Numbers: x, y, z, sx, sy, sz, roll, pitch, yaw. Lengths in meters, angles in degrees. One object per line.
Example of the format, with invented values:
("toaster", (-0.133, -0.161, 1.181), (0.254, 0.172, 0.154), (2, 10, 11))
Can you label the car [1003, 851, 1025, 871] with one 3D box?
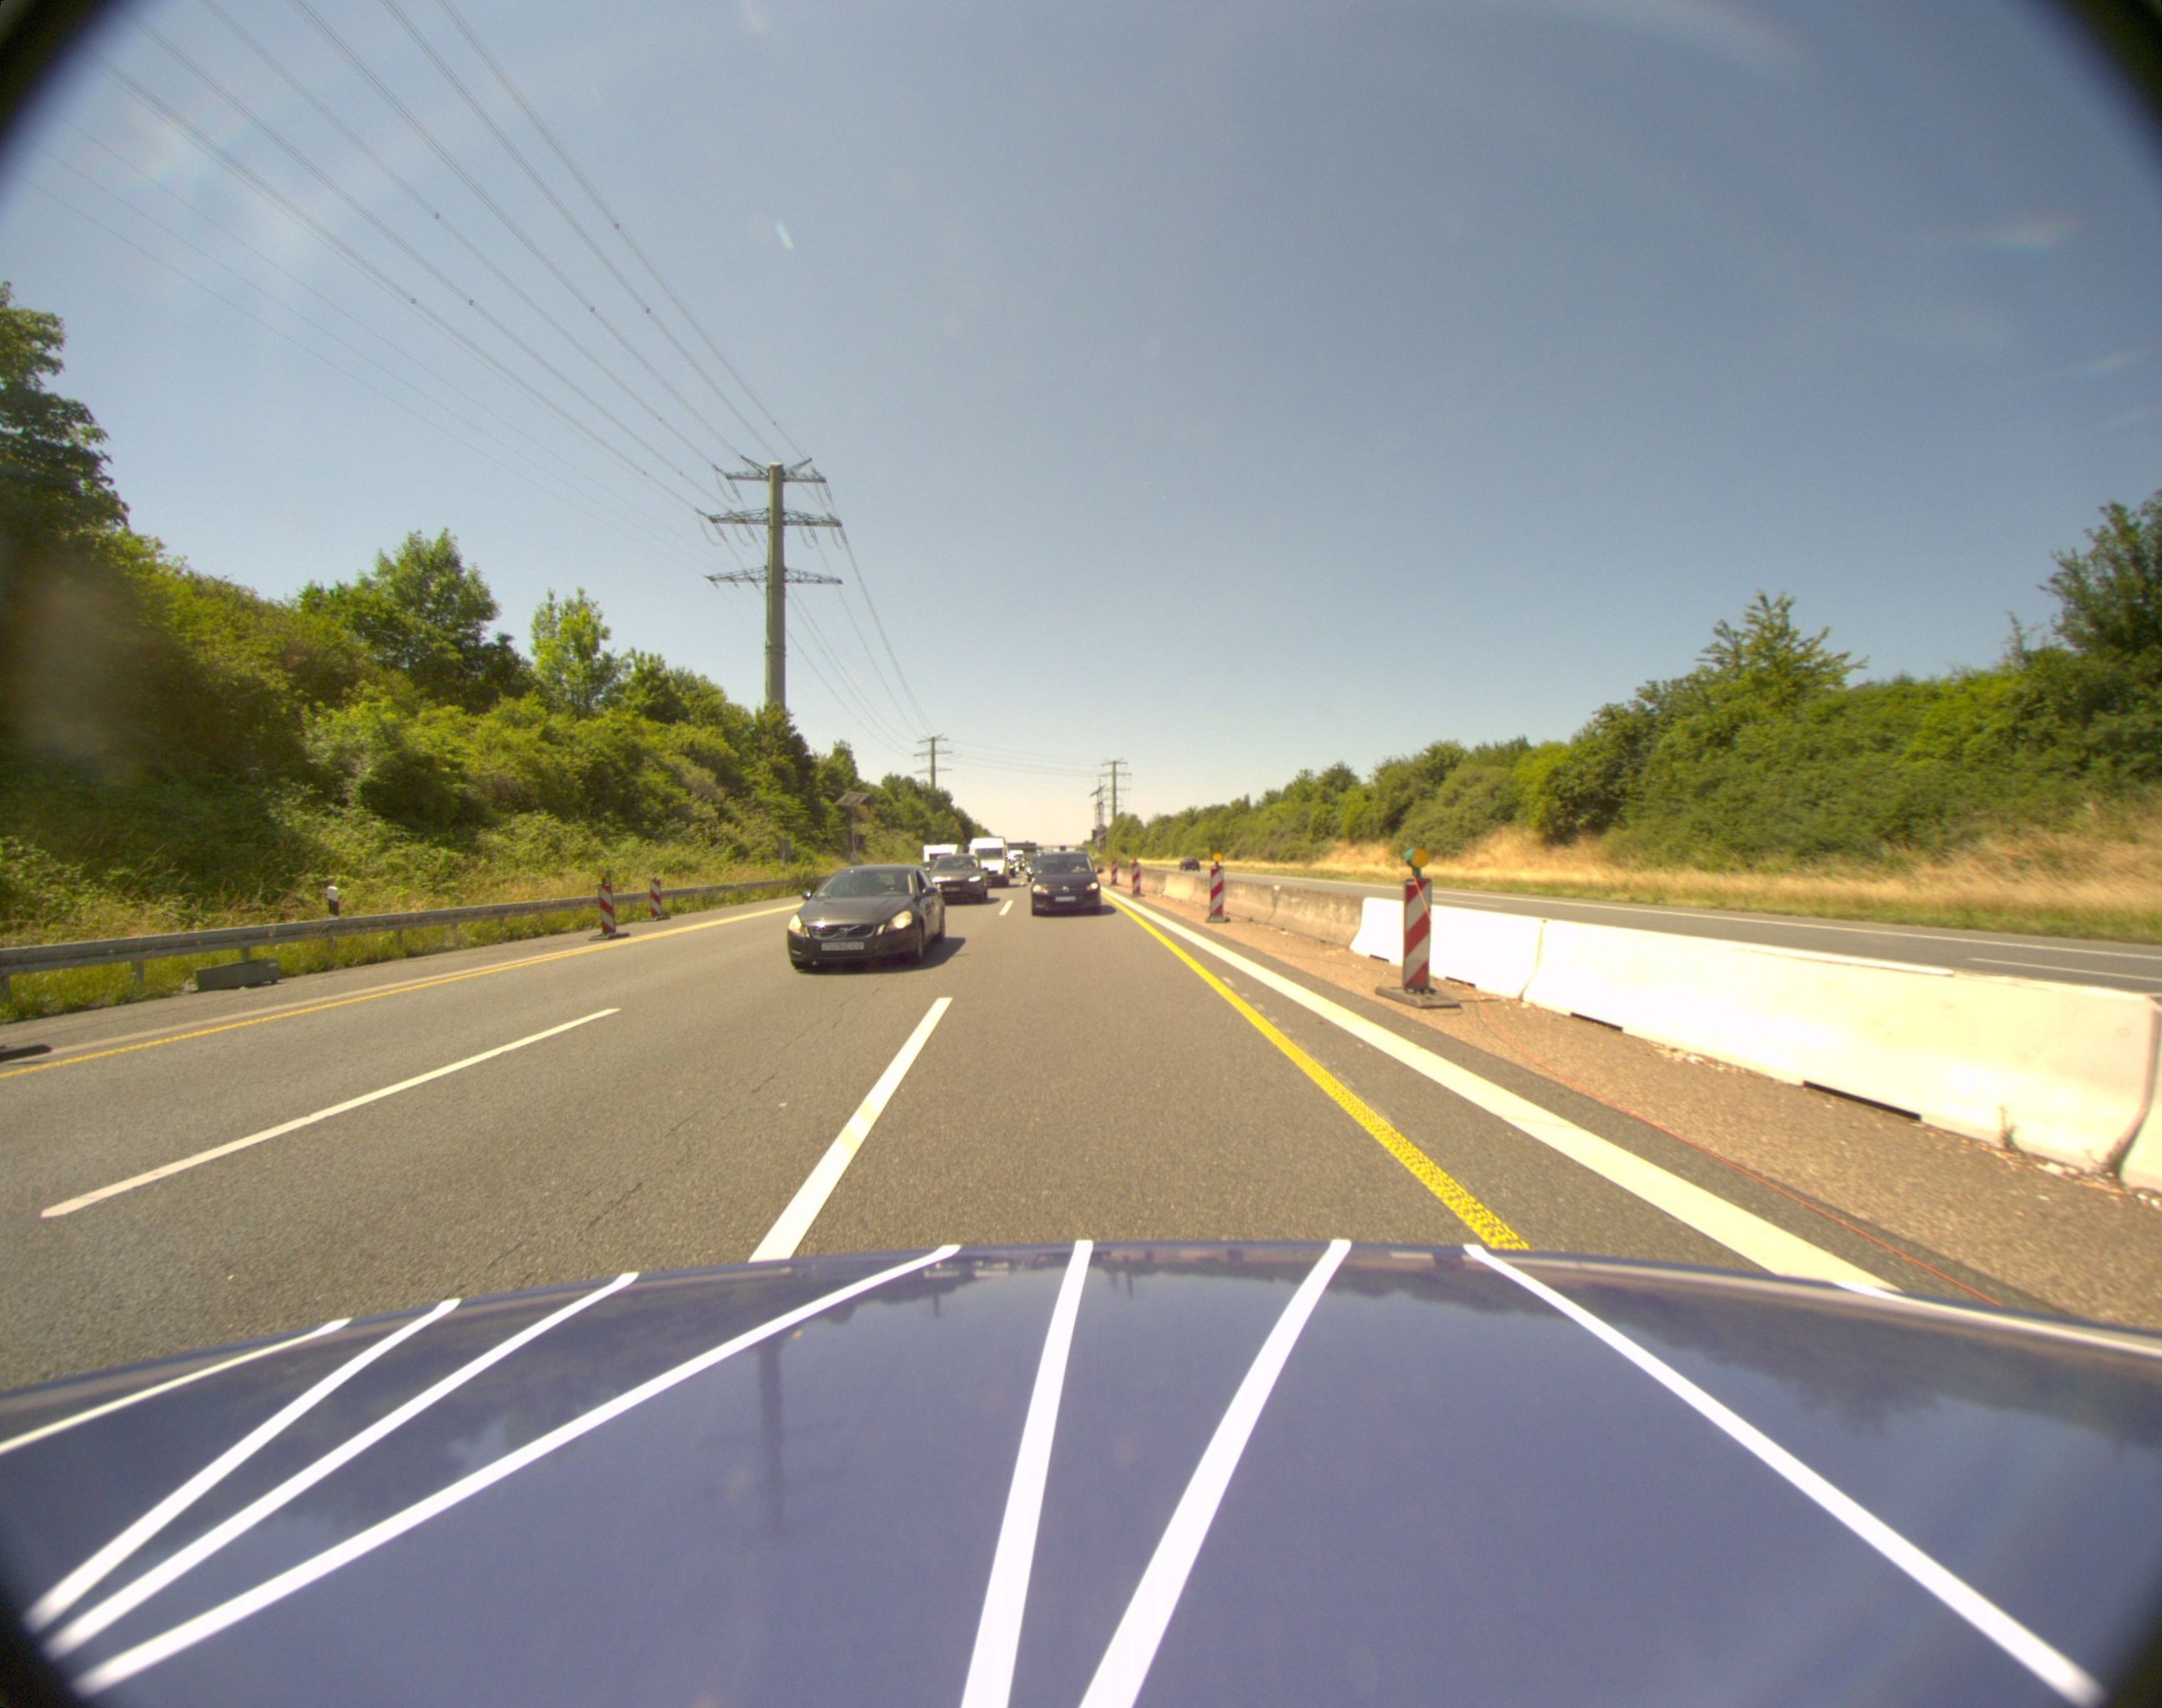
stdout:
("car", (-5.970, 0.601, 67.802), (1.745, 1.658, 4.155), (-1, 0, -3))

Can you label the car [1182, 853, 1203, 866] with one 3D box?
("car", (12.075, 0.614, 82.324), (1.771, 1.346, 3.513), (0, 0, -1))

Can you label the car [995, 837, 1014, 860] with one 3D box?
("car", (-13.535, -0.965, 135.089), (2.397, 3.779, 10.271), (-2, 1, -1))

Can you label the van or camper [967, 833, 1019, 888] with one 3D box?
("van or camper", (-4.409, 0.289, 38.893), (1.999, 2.604, 5.628), (0, 0, 0))

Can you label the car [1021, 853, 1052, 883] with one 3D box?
("car", (-2.692, 0.810, 45.809), (1.745, 1.658, 4.155), (-1, 0, -3))

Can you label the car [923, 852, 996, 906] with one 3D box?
("car", (-4.052, 0.786, 25.962), (1.745, 1.658, 4.157), (-1, 0, 0))

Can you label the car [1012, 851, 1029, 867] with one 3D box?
("car", (-6.556, 0.486, 82.865), (1.745, 1.658, 4.155), (-1, 0, -3))

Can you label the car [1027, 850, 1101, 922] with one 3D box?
("car", (-0.388, 0.754, 20.272), (1.675, 1.619, 4.690), (-3, 0, 0))

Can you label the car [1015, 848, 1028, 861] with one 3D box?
("car", (-8.326, 0.045, 106.434), (1.745, 1.658, 4.155), (-1, 0, -3))

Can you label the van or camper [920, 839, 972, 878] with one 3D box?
("van or camper", (-9.608, 0.294, 54.896), (2.432, 2.549, 8.415), (-2, 0, -2))

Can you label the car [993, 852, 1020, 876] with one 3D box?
("car", (-5.326, 0.703, 54.883), (1.745, 1.658, 4.155), (-1, 0, -3))

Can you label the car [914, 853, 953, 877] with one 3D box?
("car", (-9.381, 0.665, 48.562), (1.801, 1.399, 4.209), (1, 0, -2))

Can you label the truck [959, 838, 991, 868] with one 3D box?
("truck", (-12.323, -0.139, 88.724), (2.431, 3.122, 7.646), (-4, 0, 0))

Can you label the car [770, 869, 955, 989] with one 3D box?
("car", (-3.190, 1.023, 11.970), (1.799, 1.433, 3.999), (-2, 0, -1))
